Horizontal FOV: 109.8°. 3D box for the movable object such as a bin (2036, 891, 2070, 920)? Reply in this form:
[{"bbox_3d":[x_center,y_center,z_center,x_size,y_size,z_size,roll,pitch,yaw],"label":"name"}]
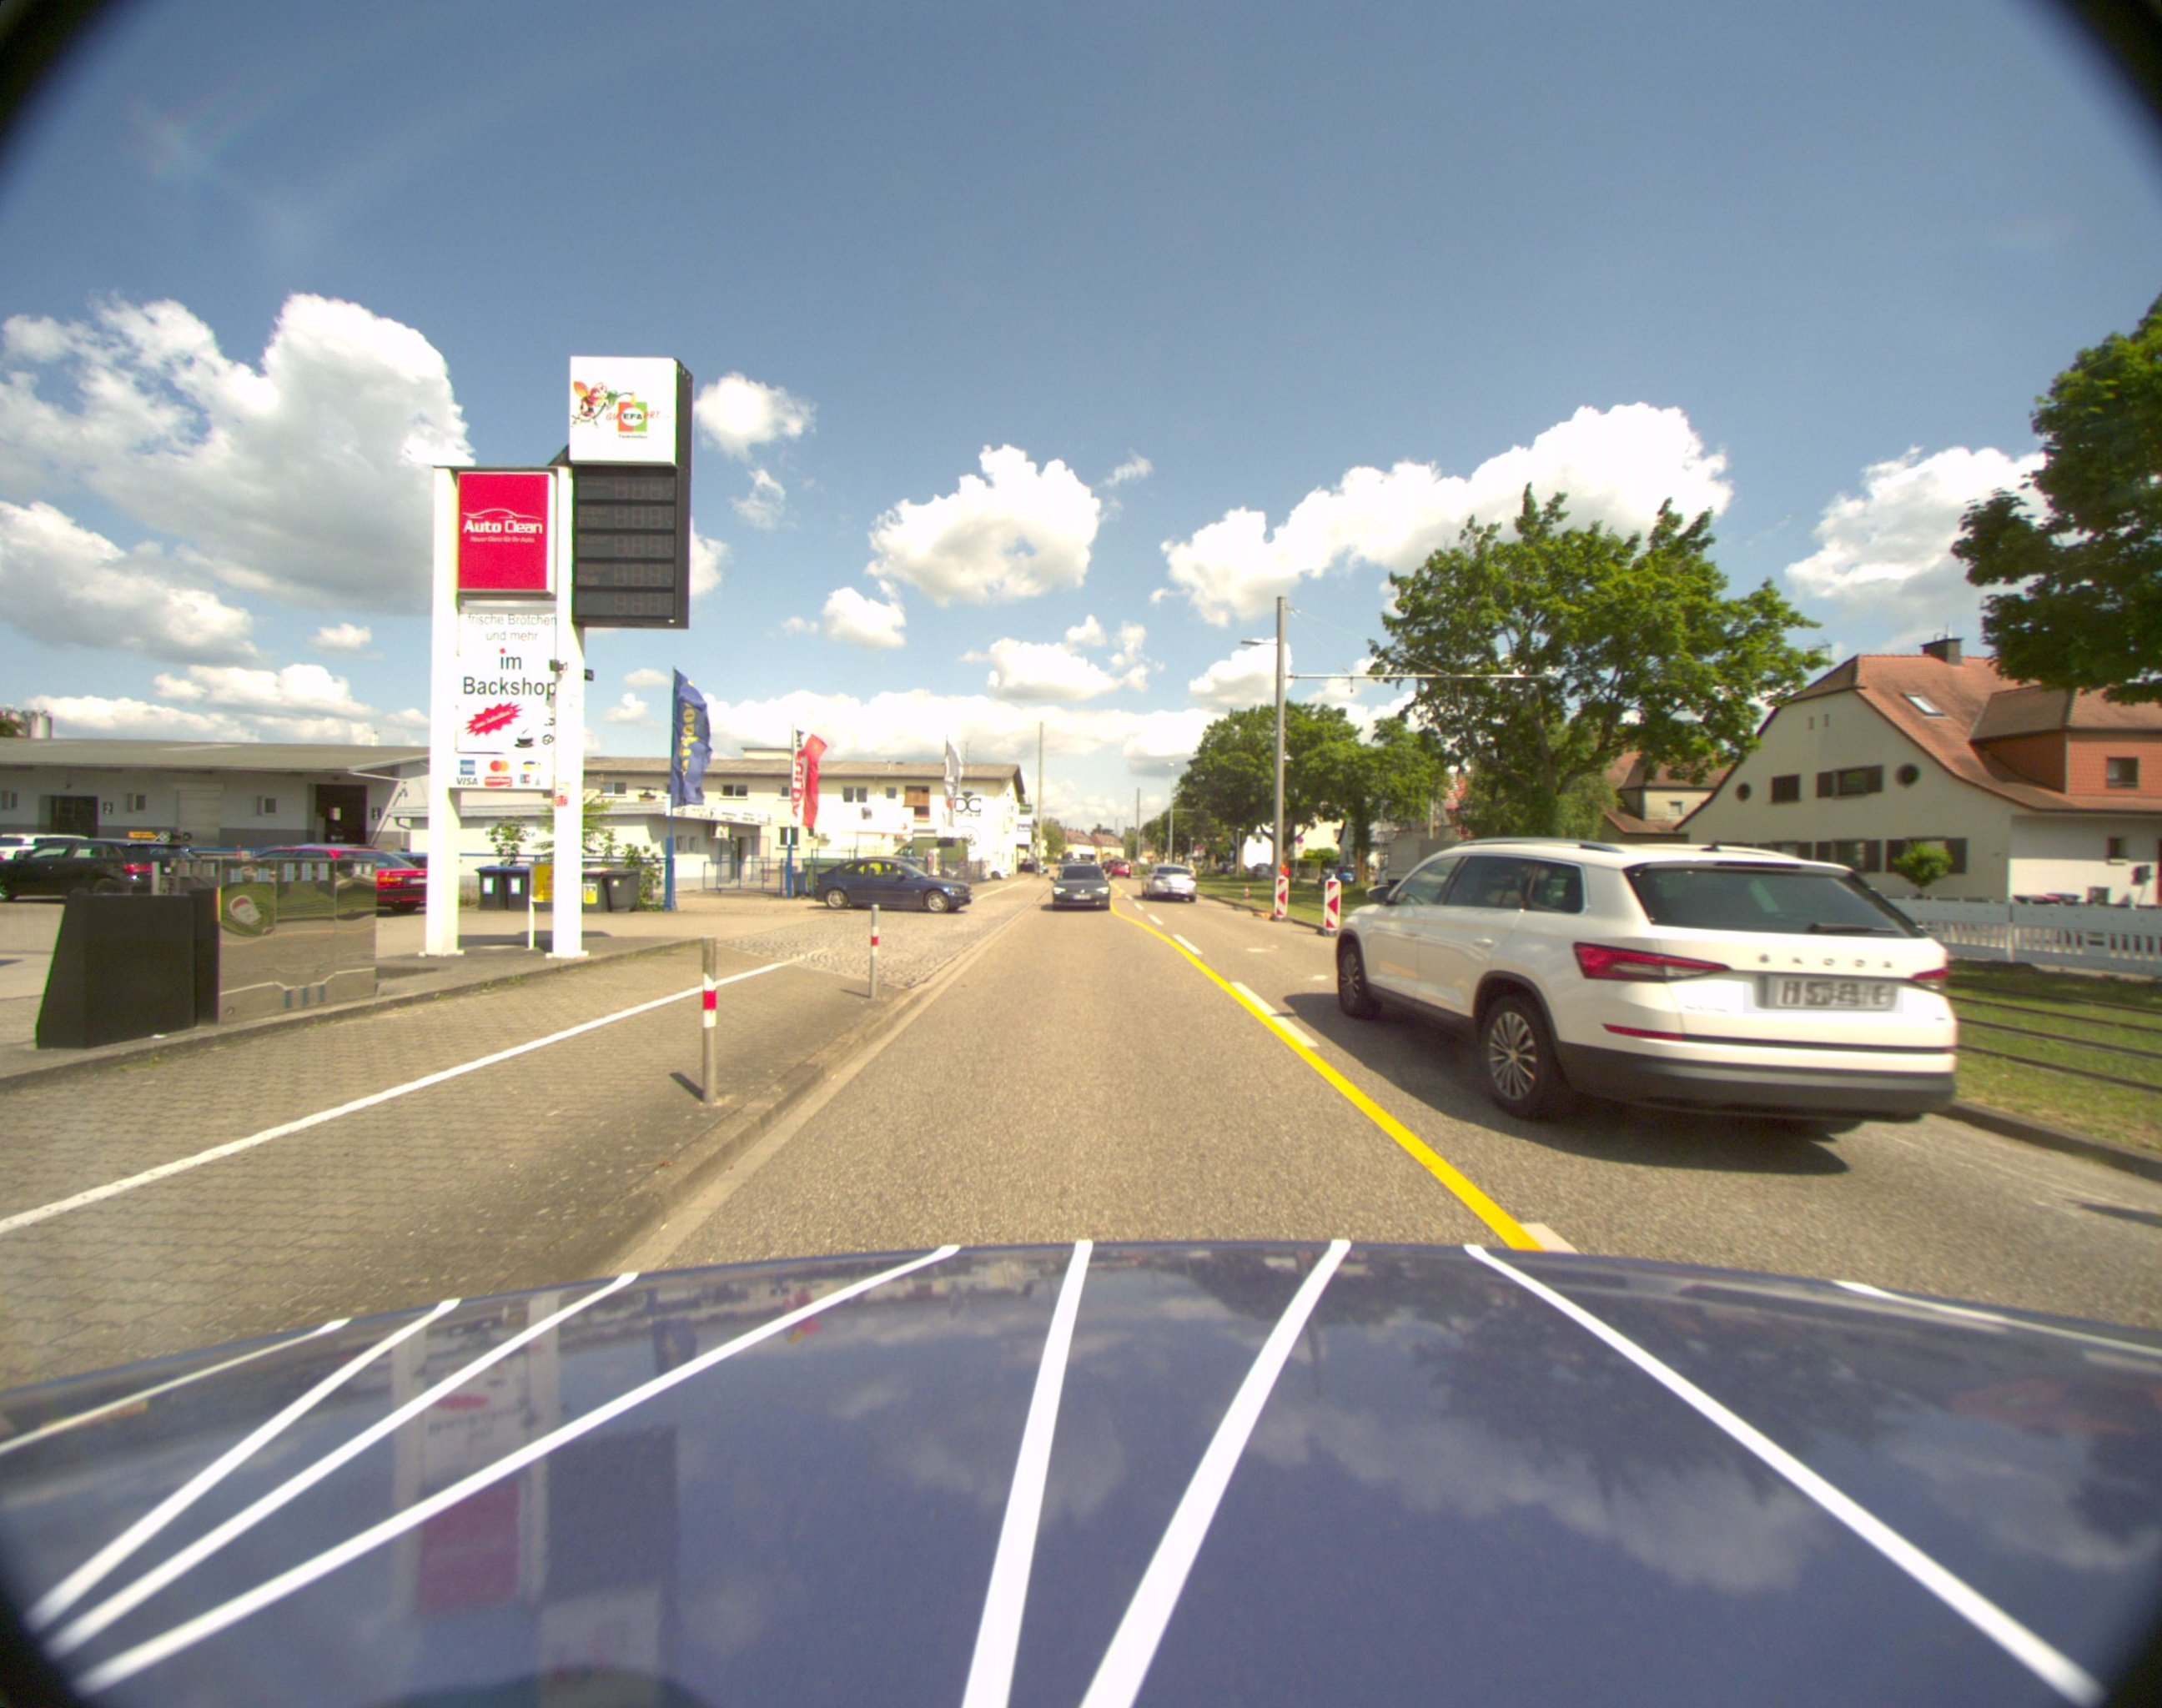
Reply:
[{"bbox_3d":[30.357,1.616,23.730,0.475,0.862,0.459,-1,1,-1],"label":"movable object such as a bin"}]

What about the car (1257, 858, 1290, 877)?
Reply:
[{"bbox_3d":[16.587,1.134,65.765,1.707,1.504,4.524,-1,1,0],"label":"car"}]

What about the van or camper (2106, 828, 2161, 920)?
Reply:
[{"bbox_3d":[33.801,0.510,21.442,6.349,2.617,2.499,-1,1,0],"label":"van or camper"}]

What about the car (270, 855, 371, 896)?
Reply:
[{"bbox_3d":[-26.438,0.728,26.404,3.663,1.345,1.642,-1,0,31],"label":"car"}]

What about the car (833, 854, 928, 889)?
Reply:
[{"bbox_3d":[-9.131,0.770,34.629,3.901,1.454,1.628,0,1,17],"label":"car"}]

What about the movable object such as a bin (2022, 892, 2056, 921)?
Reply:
[{"bbox_3d":[29.889,1.624,23.700,0.475,0.862,0.459,-1,1,-1],"label":"movable object such as a bin"}]

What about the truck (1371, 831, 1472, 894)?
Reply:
[{"bbox_3d":[16.563,0.364,37.438,2.371,2.789,5.950,-1,1,1],"label":"truck"}]

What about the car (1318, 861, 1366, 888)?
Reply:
[{"bbox_3d":[16.372,1.262,47.825,1.672,1.504,3.930,-1,1,0],"label":"car"}]

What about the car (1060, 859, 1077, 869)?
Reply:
[{"bbox_3d":[-1.724,1.369,107.746,1.823,1.412,4.002,1,0,7],"label":"car"}]

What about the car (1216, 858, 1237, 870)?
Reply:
[{"bbox_3d":[16.739,1.100,87.427,1.636,1.294,4.000,-1,1,1],"label":"car"}]

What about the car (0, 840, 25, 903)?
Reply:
[{"bbox_3d":[-25.954,0.356,16.644,3.592,1.416,1.528,1,1,2],"label":"car"}]

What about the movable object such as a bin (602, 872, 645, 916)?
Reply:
[{"bbox_3d":[-10.973,0.957,18.240,0.582,1.004,0.706,-1,1,-1],"label":"movable object such as a bin"}]

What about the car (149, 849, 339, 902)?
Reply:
[{"bbox_3d":[-21.413,0.519,19.521,3.309,1.218,1.487,1,1,2],"label":"car"}]

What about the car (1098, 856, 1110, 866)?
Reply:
[{"bbox_3d":[3.549,1.020,117.920,1.715,1.477,4.525,2,0,-1],"label":"car"}]

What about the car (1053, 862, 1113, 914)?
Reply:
[{"bbox_3d":[0.108,1.033,24.449,1.743,1.410,4.381,-1,1,1],"label":"car"}]

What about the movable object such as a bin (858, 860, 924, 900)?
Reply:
[{"bbox_3d":[-6.848,0.904,27.542,1.968,1.339,1.708,-1,1,0],"label":"movable object such as a bin"}]

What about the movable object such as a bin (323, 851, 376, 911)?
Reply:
[{"bbox_3d":[-17.404,0.630,18.090,0.582,1.383,0.706,1,0,-1],"label":"movable object such as a bin"}]

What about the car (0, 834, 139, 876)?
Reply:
[{"bbox_3d":[-44.411,0.056,33.401,1.540,1.731,3.598,0,0,-1],"label":"car"}]

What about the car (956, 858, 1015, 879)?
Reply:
[{"bbox_3d":[-6.450,0.975,51.613,3.725,1.350,1.518,-1,1,4],"label":"car"}]

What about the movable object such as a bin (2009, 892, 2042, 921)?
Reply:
[{"bbox_3d":[29.415,1.633,23.670,0.475,0.862,0.459,-1,1,-1],"label":"movable object such as a bin"}]

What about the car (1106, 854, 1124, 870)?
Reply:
[{"bbox_3d":[3.836,0.897,86.157,1.801,1.680,4.221,2,0,0],"label":"car"}]

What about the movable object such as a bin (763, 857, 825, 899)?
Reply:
[{"bbox_3d":[-10.318,0.842,27.425,1.536,1.402,1.765,-1,1,0],"label":"movable object such as a bin"}]

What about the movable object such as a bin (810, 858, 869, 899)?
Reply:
[{"bbox_3d":[-8.699,0.868,27.497,1.536,1.402,1.765,-1,1,0],"label":"movable object such as a bin"}]

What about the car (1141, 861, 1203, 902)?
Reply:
[{"bbox_3d":[3.506,1.031,30.035,1.825,1.436,4.483,2,0,0],"label":"car"}]

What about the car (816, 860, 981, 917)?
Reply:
[{"bbox_3d":[-4.929,0.902,20.785,4.061,1.400,1.648,1,1,7],"label":"car"}]

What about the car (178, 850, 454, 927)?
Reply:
[{"bbox_3d":[-16.148,0.685,16.185,4.144,1.416,1.771,1,1,2],"label":"car"}]

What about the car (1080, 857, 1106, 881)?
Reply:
[{"bbox_3d":[0.800,0.952,49.363,1.594,1.418,3.707,-1,1,1],"label":"car"}]

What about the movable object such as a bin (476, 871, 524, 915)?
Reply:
[{"bbox_3d":[-13.920,0.923,18.214,0.582,1.004,0.706,-1,1,-1],"label":"movable object such as a bin"}]

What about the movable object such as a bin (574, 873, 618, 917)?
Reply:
[{"bbox_3d":[-11.611,0.968,18.217,0.582,1.004,0.706,-1,1,-1],"label":"movable object such as a bin"}]

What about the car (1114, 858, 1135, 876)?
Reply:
[{"bbox_3d":[3.773,1.095,66.510,1.582,1.460,3.720,1,0,1],"label":"car"}]

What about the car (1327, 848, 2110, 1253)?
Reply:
[{"bbox_3d":[3.419,0.823,5.458,1.829,1.656,4.461,2,1,0],"label":"car"}]

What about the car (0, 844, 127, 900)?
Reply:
[{"bbox_3d":[-27.481,0.445,19.684,3.645,1.307,1.553,1,1,2],"label":"car"}]

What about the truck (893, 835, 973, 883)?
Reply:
[{"bbox_3d":[-8.580,0.269,44.402,4.181,2.645,2.108,-1,1,2],"label":"truck"}]

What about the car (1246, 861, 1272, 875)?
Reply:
[{"bbox_3d":[16.723,1.296,71.524,1.624,1.235,3.787,-1,1,1],"label":"car"}]

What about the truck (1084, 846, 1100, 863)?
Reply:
[{"bbox_3d":[2.011,0.037,134.816,2.632,2.871,7.924,-1,1,3],"label":"truck"}]

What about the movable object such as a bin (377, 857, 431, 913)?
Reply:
[{"bbox_3d":[-15.929,0.717,17.885,0.582,1.289,0.706,-1,1,-1],"label":"movable object such as a bin"}]

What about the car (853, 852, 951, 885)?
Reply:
[{"bbox_3d":[-8.666,0.690,36.922,4.254,1.496,1.829,-1,1,17],"label":"car"}]

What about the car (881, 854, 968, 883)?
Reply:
[{"bbox_3d":[-8.564,0.769,41.666,4.257,1.499,1.828,-1,1,8],"label":"car"}]
